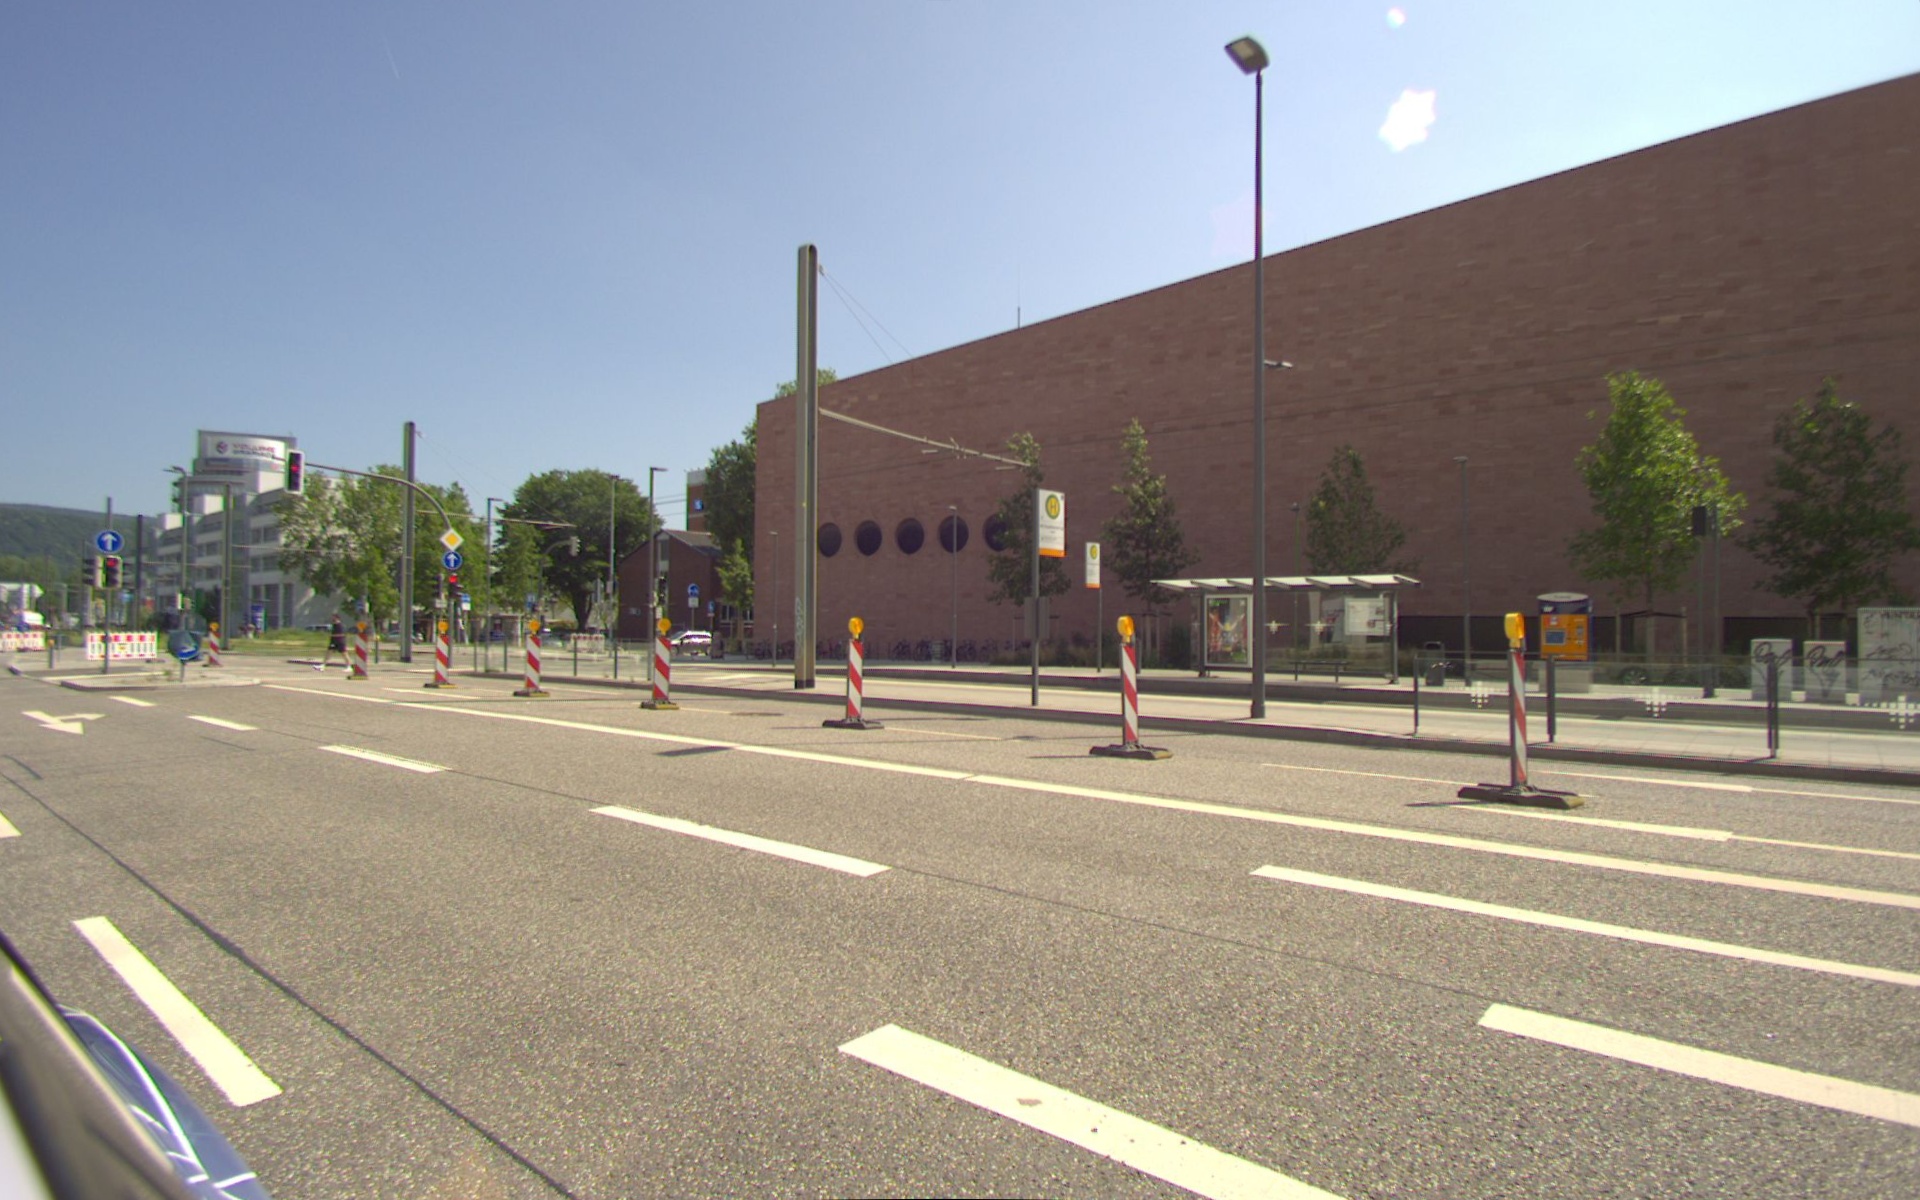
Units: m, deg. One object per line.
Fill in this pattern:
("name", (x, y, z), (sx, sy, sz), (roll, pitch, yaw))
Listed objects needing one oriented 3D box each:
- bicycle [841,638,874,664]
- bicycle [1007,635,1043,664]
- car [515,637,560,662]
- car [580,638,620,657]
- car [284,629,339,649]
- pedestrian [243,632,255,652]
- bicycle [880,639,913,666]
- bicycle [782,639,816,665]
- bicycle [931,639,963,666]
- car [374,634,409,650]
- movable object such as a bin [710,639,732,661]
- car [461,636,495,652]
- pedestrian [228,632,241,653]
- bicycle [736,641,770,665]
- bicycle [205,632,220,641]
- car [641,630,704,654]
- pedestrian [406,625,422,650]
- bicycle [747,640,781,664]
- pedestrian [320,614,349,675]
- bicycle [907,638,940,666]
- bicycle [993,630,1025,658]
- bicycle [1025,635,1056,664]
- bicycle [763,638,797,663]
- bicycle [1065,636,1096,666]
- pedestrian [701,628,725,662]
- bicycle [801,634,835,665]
("bicycle", (-5.010, 2.505, 49.752), (0.537, 1.221, 2.036), (-2, -2, 30))
("bicycle", (2.873, 2.169, 44.755), (0.745, 1.221, 1.868), (-1, -2, 34))
("car", (-32.827, 3.838, 78.665), (3.938, 1.774, 1.680), (0, -1, 42))
("car", (-29.770, 3.896, 83.696), (3.786, 1.468, 1.522), (-2, -2, 41))
("car", (-73.722, 4.459, 115.148), (4.988, 2.196, 2.121), (1, -1, -22))
("pedestrian", (-72.000, 4.235, 102.453), (0.984, 2.029, 0.830), (-2, -2, 44))
("bicycle", (-3.043, 2.503, 48.392), (0.537, 1.221, 2.036), (-1, -1, 30))
("bicycle", (-8.143, 2.623, 51.366), (0.537, 1.221, 2.037), (-2, -2, 30))
("bicycle", (-0.592, 2.424, 47.115), (0.537, 1.221, 2.036), (-2, -2, 30))
("car", (-57.245, 4.210, 101.956), (3.630, 1.603, 1.752), (-1, 0, 36))
("movable object such as a bin", (-11.650, 2.433, 49.363), (0.786, 1.039, 0.712), (-1, -2, 14))
("car", (-50.407, 4.601, 105.838), (3.630, 1.603, 1.752), (-1, 0, 36))
("pedestrian", (-72.809, 4.239, 101.572), (0.910, 2.029, 0.972), (-2, -1, 44))
("bicycle", (-10.854, 2.769, 53.177), (0.537, 1.221, 2.036), (-1, -2, 30))
("bicycle", (-104.740, 5.124, 141.896), (0.438, 1.198, 1.629), (-2, -1, 41))
("car", (-17.476, 2.545, 61.665), (1.572, 1.380, 3.443), (-2, -2, 40))
("pedestrian", (-40.514, 2.775, 75.099), (0.802, 1.861, 1.108), (1, -2, -43))
("bicycle", (-10.233, 2.705, 52.785), (0.537, 1.221, 2.036), (-2, -2, 30))
("pedestrian", (-19.394, 1.361, 31.371), (0.645, 1.847, 0.661), (0, -2, -45))
("bicycle", (-1.710, 2.432, 47.579), (0.537, 1.221, 2.036), (-2, -2, 30))
("bicycle", (2.206, 1.959, 45.339), (0.537, 1.221, 2.036), (-2, -2, 30))
("bicycle", (3.525, 2.159, 44.292), (0.537, 1.221, 2.036), (-2, -2, 30))
("bicycle", (-9.245, 2.590, 51.973), (0.537, 1.221, 2.036), (-2, -2, 30))
("bicycle", (5.156, 2.184, 43.286), (0.537, 1.221, 2.036), (-2, -2, 30))
("pedestrian", (-11.853, 2.153, 48.568), (0.786, 1.574, 0.928), (-1, -2, 14))
("bicycle", (-7.093, 2.458, 50.565), (0.537, 1.464, 2.036), (-2, -2, 30))
